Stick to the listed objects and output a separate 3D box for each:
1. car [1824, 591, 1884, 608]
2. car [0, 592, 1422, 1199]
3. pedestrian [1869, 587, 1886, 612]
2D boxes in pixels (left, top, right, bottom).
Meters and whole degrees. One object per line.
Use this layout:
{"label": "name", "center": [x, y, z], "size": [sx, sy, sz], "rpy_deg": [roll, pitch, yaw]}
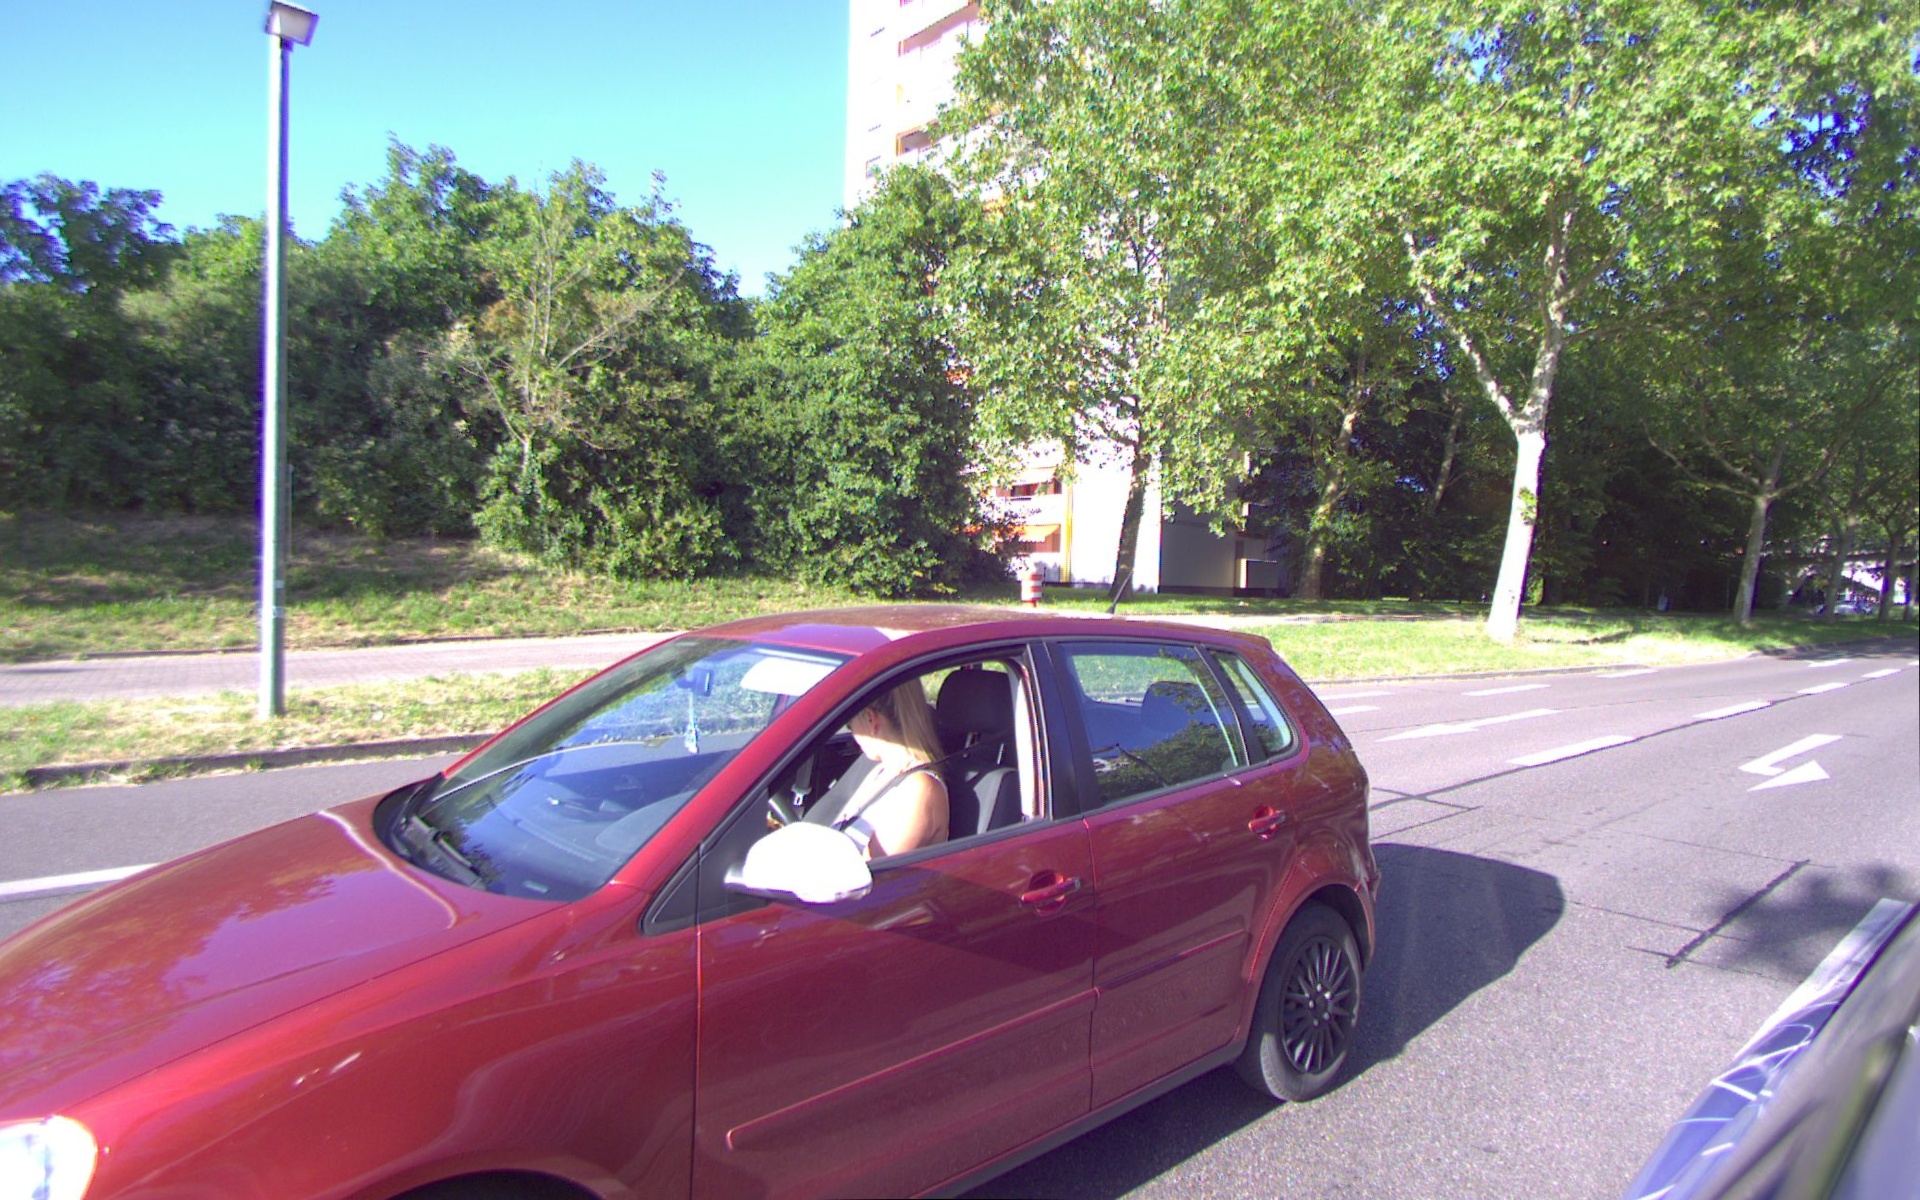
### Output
{"label": "car", "center": [80.833, -0.082, 91.562], "size": [3.983, 1.493, 1.772], "rpy_deg": [0, 0, 42]}
{"label": "car", "center": [-0.419, 0.720, 2.786], "size": [3.694, 1.456, 1.645], "rpy_deg": [-1, 1, -40]}
{"label": "pedestrian", "center": [75.531, -0.063, 83.330], "size": [0.945, 2.039, 0.918], "rpy_deg": [0, 0, -41]}
